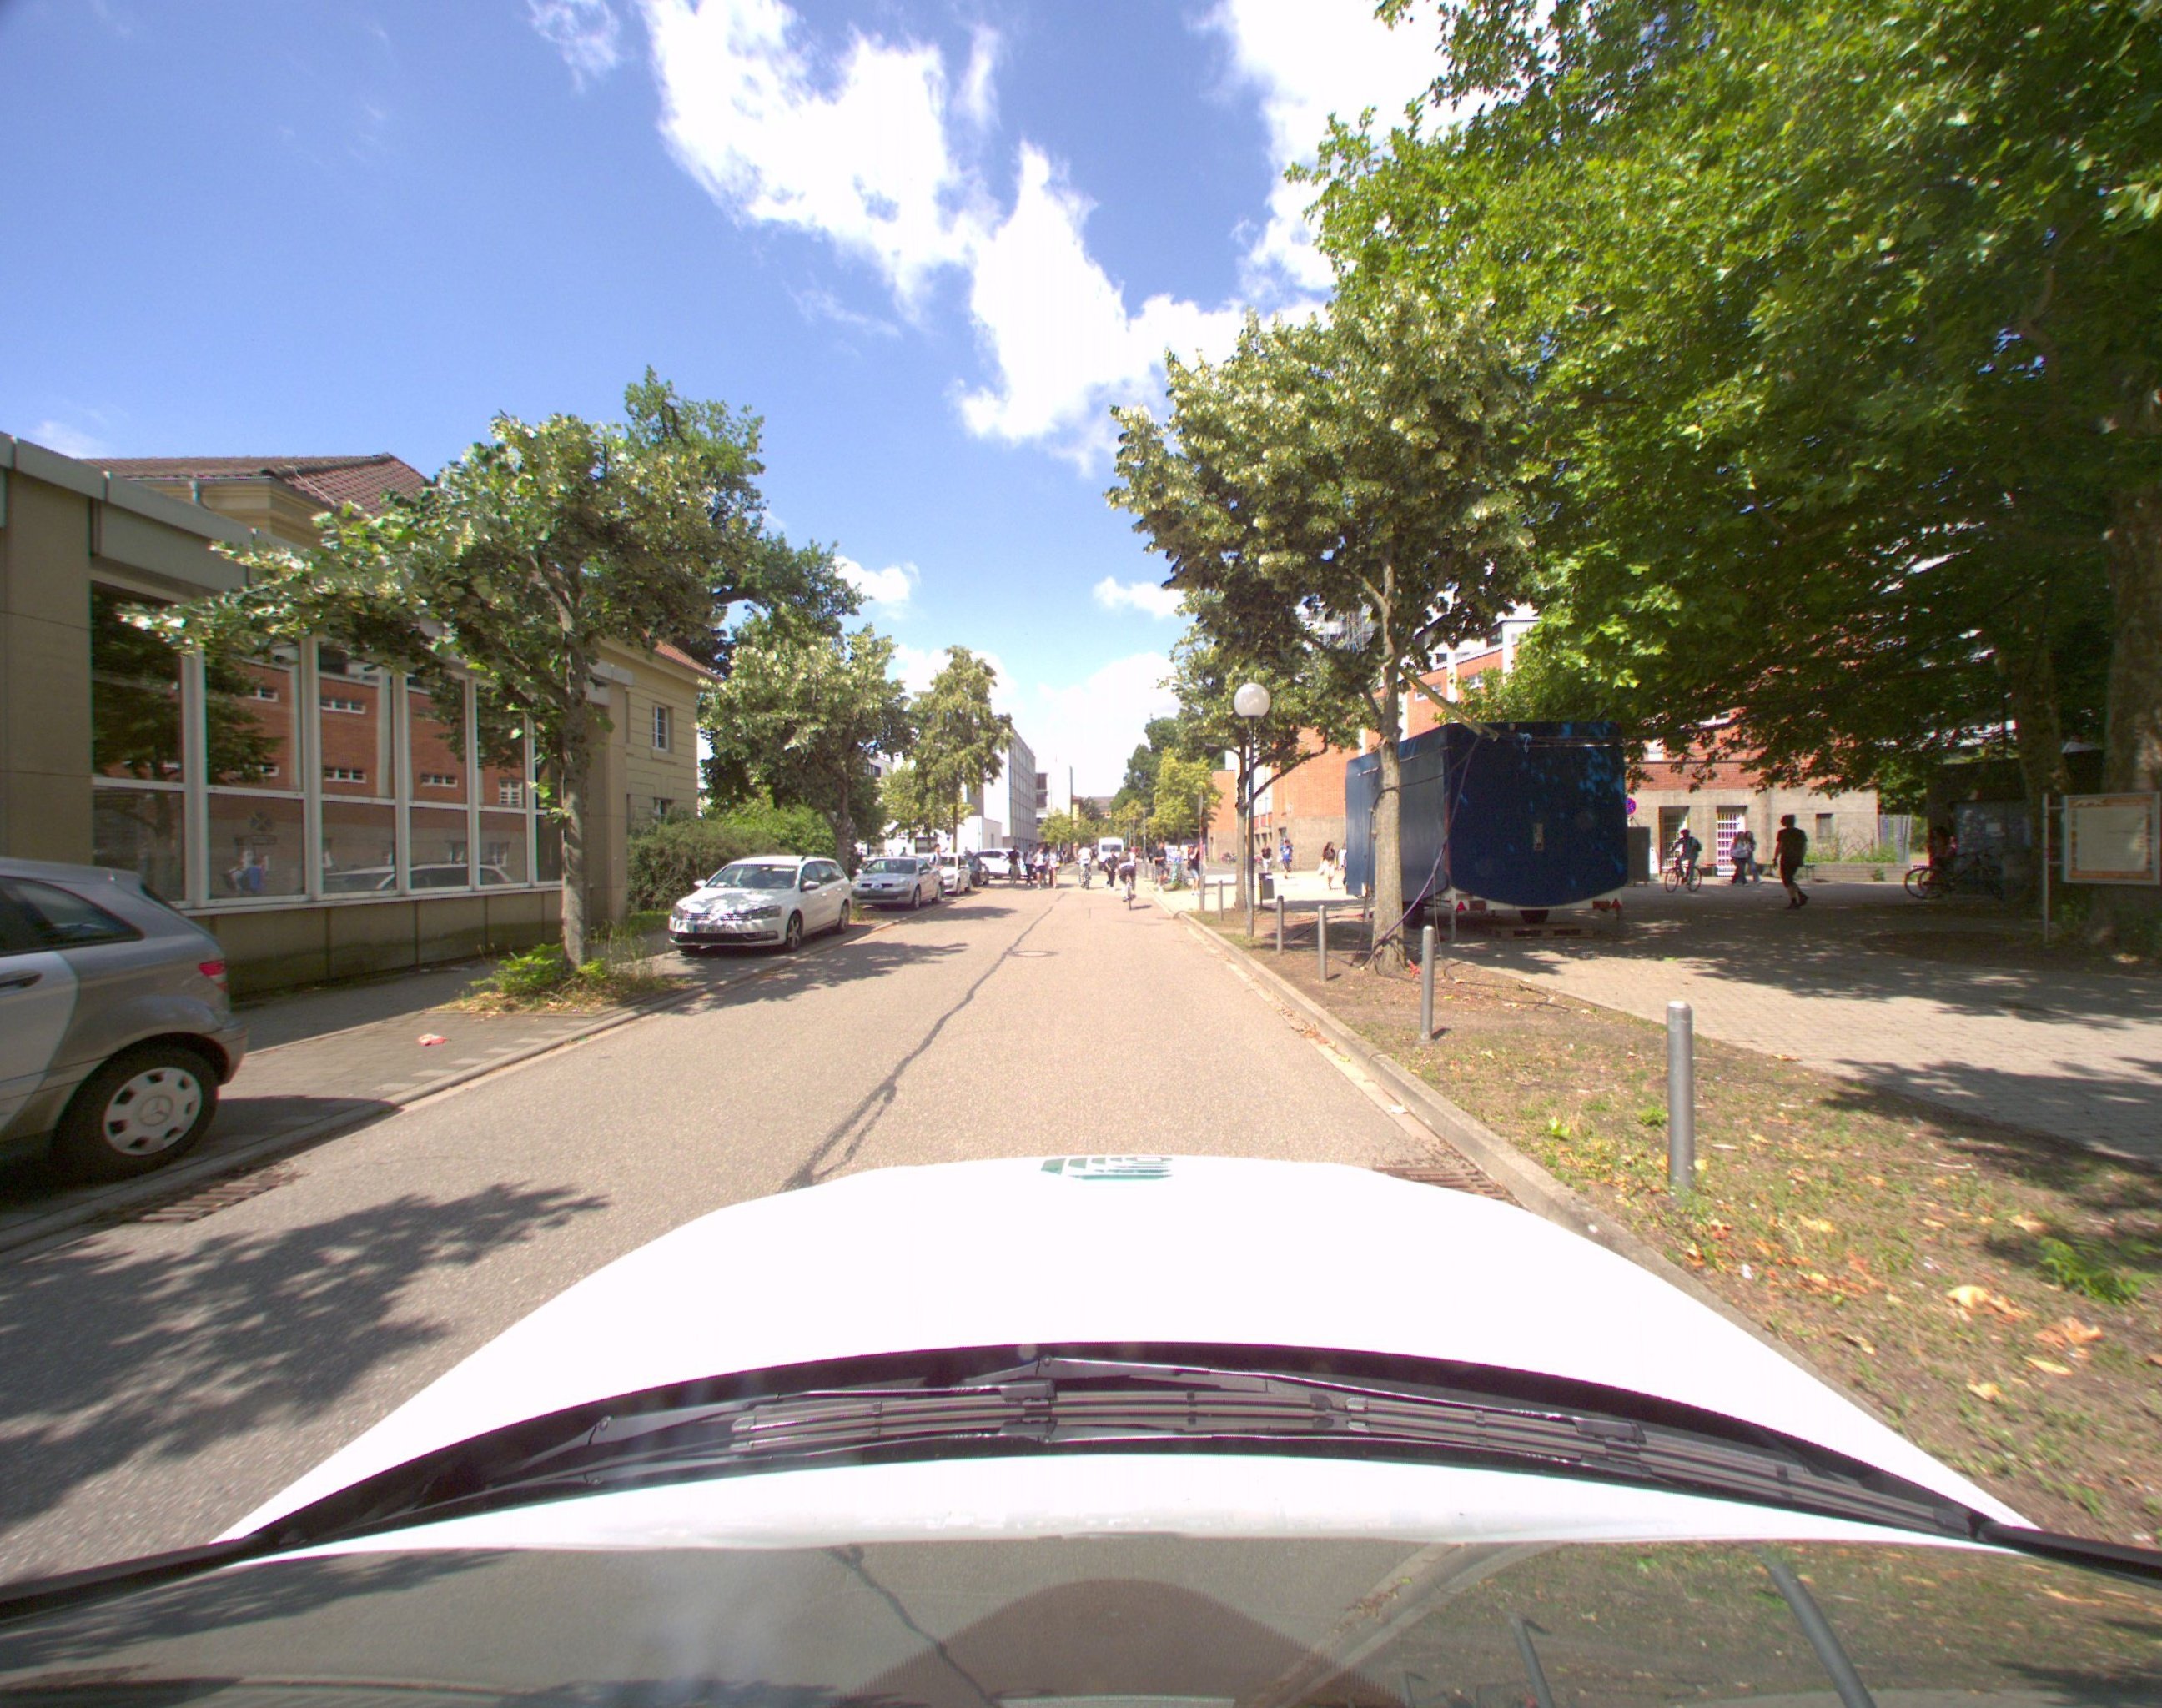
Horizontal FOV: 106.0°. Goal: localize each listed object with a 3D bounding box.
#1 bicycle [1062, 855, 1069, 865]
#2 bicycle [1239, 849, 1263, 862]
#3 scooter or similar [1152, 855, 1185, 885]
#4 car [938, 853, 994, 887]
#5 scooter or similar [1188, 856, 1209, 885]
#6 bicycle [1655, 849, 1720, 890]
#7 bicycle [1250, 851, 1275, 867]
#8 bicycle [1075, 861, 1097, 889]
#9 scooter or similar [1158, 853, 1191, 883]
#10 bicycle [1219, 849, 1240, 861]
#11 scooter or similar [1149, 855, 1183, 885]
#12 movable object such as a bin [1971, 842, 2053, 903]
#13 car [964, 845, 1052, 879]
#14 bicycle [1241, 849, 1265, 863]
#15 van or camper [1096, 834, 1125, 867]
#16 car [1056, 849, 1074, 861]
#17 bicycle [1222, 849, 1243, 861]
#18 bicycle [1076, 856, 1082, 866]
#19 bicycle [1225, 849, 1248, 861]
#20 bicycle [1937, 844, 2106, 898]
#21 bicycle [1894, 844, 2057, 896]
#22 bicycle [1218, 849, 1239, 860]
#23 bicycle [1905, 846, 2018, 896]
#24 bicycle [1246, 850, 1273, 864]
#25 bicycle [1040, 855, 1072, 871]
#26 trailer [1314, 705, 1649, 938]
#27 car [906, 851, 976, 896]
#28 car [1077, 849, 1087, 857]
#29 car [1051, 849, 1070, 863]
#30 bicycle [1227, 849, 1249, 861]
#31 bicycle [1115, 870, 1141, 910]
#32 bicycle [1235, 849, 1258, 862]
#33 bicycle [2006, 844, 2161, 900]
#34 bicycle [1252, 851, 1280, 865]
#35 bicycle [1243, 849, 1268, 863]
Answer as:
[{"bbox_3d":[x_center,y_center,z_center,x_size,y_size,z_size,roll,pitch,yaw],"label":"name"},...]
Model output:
[{"bbox_3d":[-1.615,0.600,83.123,0.675,0.965,2.002,-1,0,0],"label":"bicycle"},{"bbox_3d":[13.778,0.151,66.195,1.803,0.985,0.560,-3,0,0],"label":"bicycle"},{"bbox_3d":[3.837,0.702,35.593,1.248,1.265,0.655,-1,0,33],"label":"scooter or similar"},{"bbox_3d":[-4.842,0.663,34.768,1.638,1.300,3.930,-2,0,3],"label":"car"},{"bbox_3d":[4.910,0.666,34.019,0.643,1.160,1.270,-1,0,17],"label":"scooter or similar"},{"bbox_3d":[16.995,0.412,22.798,2.031,1.080,0.616,-1,0,-27],"label":"bicycle"},{"bbox_3d":[12.074,0.321,54.269,1.529,1.033,0.560,-2,0,0],"label":"bicycle"},{"bbox_3d":[0.178,0.833,33.348,0.806,1.002,2.122,1,2,-2],"label":"bicycle"},{"bbox_3d":[4.182,0.627,36.400,1.248,1.265,0.644,-1,0,33],"label":"scooter or similar"},{"bbox_3d":[13.675,0.081,75.155,1.803,0.985,0.560,-3,0,0],"label":"bicycle"},{"bbox_3d":[3.642,0.679,34.822,1.248,1.265,0.655,-1,0,33],"label":"scooter or similar"},{"bbox_3d":[16.849,0.333,14.762,0.597,1.071,0.743,-1,-2,2],"label":"movable object such as a bin"},{"bbox_3d":[-3.859,0.409,42.813,4.462,1.619,1.936,1,-1,38],"label":"car"},{"bbox_3d":[13.712,0.165,64.966,1.803,0.985,0.560,-3,0,0],"label":"bicycle"},{"bbox_3d":[2.338,-0.229,63.339,1.984,2.446,4.575,-2,-1,4],"label":"van or camper"},{"bbox_3d":[-2.081,0.070,107.431,1.786,1.530,4.006,-1,0,6],"label":"car"},{"bbox_3d":[13.541,0.106,72.819,1.803,0.985,0.560,-3,0,0],"label":"bicycle"},{"bbox_3d":[-0.219,0.714,84.170,0.675,0.964,2.003,-1,2,0],"label":"bicycle"},{"bbox_3d":[13.604,0.116,71.283,1.803,0.985,0.560,-3,0,0],"label":"bicycle"},{"bbox_3d":[19.669,0.351,17.085,2.382,1.072,0.785,-1,-1,8],"label":"bicycle"},{"bbox_3d":[19.722,0.352,18.010,2.379,1.072,0.786,-1,-1,14],"label":"bicycle"},{"bbox_3d":[13.774,0.070,76.117,1.803,0.985,0.560,-3,0,0],"label":"bicycle"},{"bbox_3d":[21.184,0.377,19.652,0.571,1.140,2.027,-1,0,2],"label":"bicycle"},{"bbox_3d":[13.196,0.218,60.217,1.803,0.985,0.560,-3,0,0],"label":"bicycle"},{"bbox_3d":[-1.564,0.574,50.961,0.815,1.002,2.097,0,-1,-44],"label":"bicycle"},{"bbox_3d":[6.317,-0.455,14.146,2.682,3.051,6.257,-2,0,0],"label":"trailer"},{"bbox_3d":[-4.778,0.627,28.280,1.656,1.411,3.808,0,0,1],"label":"car"},{"bbox_3d":[0.216,-0.296,166.659,1.786,1.530,4.006,-1,0,6],"label":"car"},{"bbox_3d":[-2.451,0.235,100.020,1.786,1.530,4.006,-1,0,6],"label":"car"},{"bbox_3d":[13.865,0.110,72.111,1.803,0.985,0.560,-3,0,0],"label":"bicycle"},{"bbox_3d":[1.280,0.966,22.455,0.704,0.993,1.912,0,1,2],"label":"bicycle"},{"bbox_3d":[13.962,0.115,68.739,1.803,0.985,0.560,-3,0,0],"label":"bicycle"},{"bbox_3d":[19.894,0.338,15.924,2.379,1.072,0.786,0,0,13],"label":"bicycle"},{"bbox_3d":[13.273,0.294,58.454,1.803,0.912,0.560,-3,0,0],"label":"bicycle"},{"bbox_3d":[13.294,0.185,62.126,1.803,0.985,0.560,-3,0,0],"label":"bicycle"}]
